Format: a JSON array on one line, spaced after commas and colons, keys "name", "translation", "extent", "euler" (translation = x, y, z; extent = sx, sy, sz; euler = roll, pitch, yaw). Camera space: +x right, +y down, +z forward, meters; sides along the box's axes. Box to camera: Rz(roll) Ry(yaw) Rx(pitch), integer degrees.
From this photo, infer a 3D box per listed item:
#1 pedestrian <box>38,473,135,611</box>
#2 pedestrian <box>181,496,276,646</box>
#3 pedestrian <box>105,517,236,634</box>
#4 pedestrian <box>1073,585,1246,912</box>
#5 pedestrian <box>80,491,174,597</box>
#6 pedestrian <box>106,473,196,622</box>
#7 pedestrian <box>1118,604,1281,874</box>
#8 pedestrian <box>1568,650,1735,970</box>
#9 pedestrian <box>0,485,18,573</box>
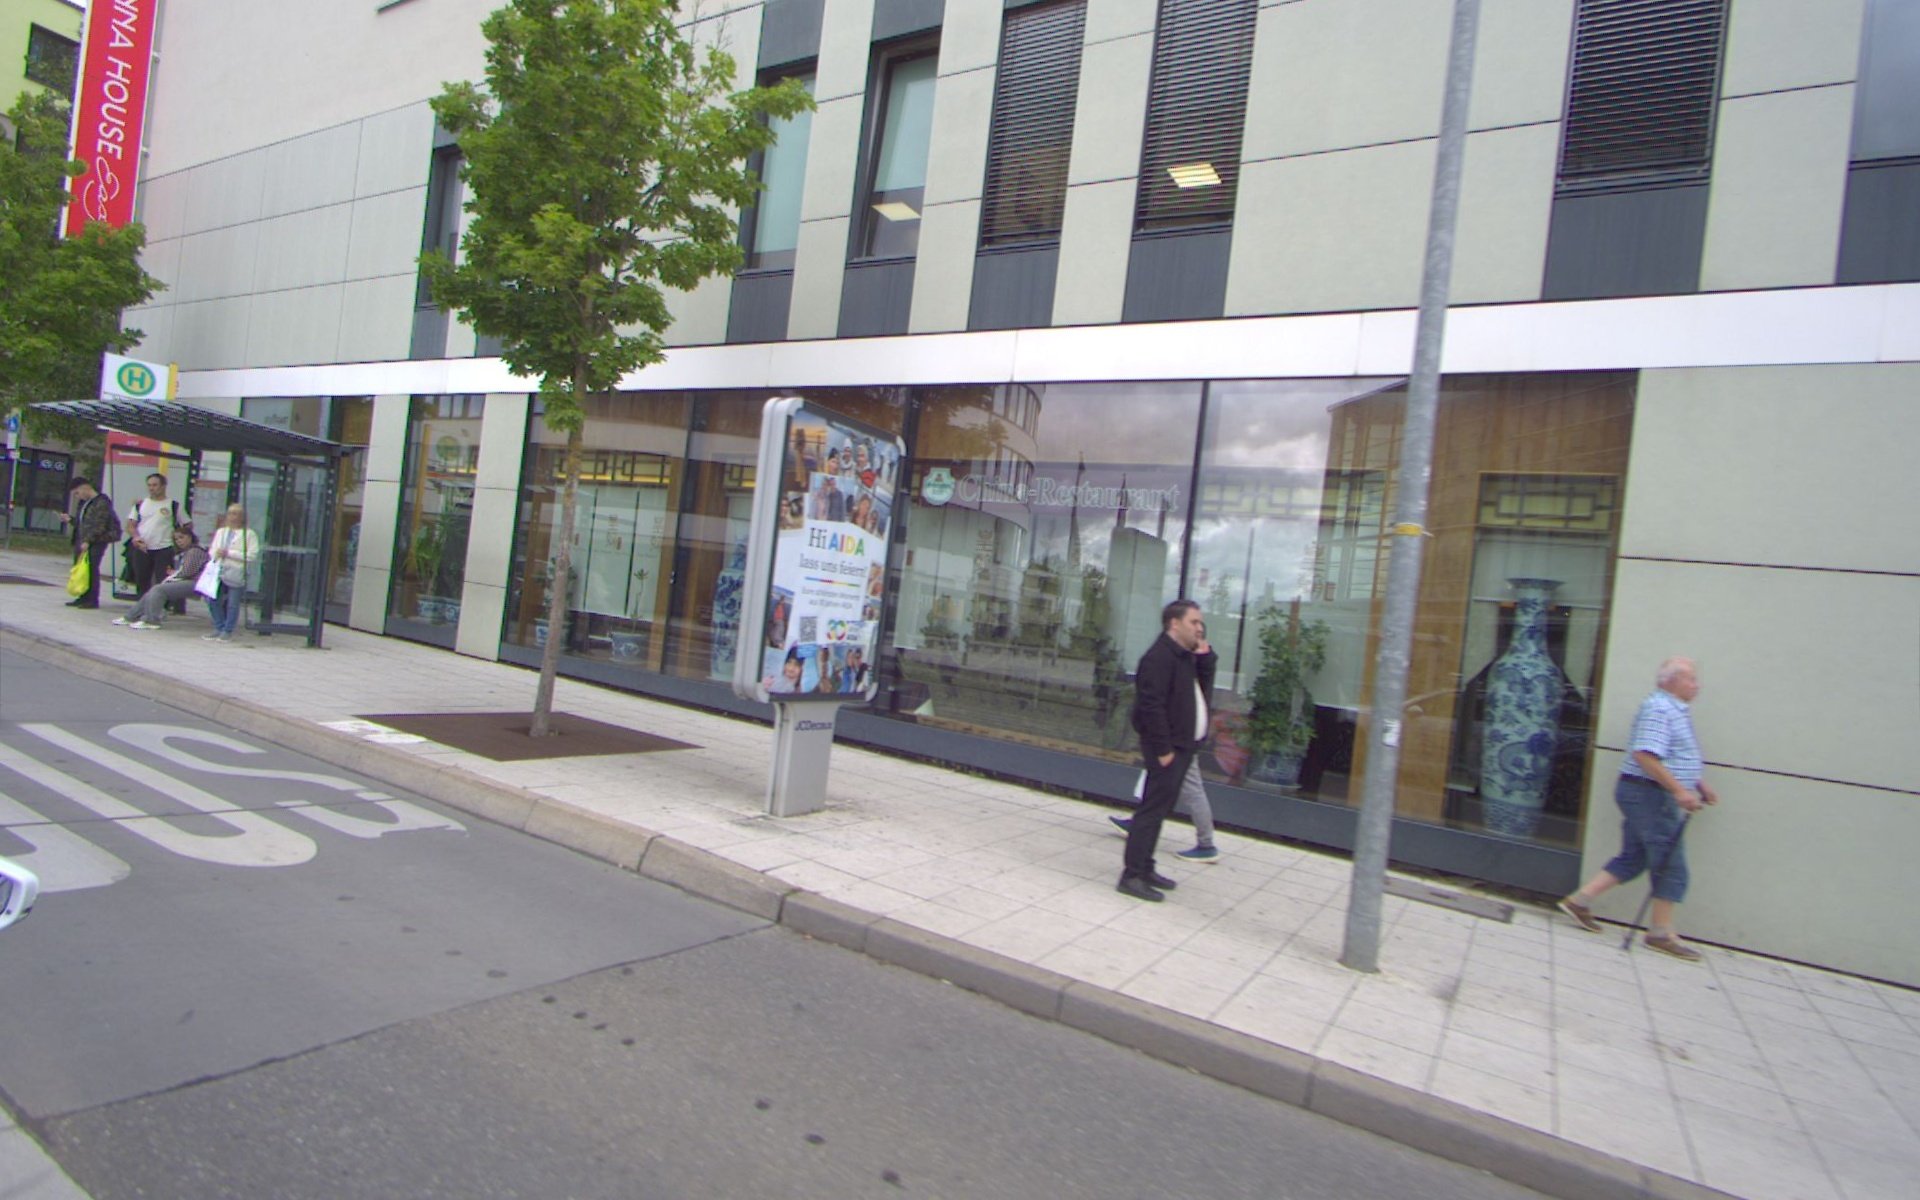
[{"name": "pedestrian", "translation": [-11.455, -0.754, 13.201], "extent": [0.721, 1.705, 0.720], "euler": [7, 1, 36]}, {"name": "pedestrian", "translation": [-8.319, -0.326, 11.436], "extent": [0.721, 1.611, 0.578], "euler": [7, 1, 37]}, {"name": "pedestrian", "translation": [-9.420, -0.280, 12.016], "extent": [0.720, 1.275, 0.944], "euler": [6, 1, 28]}, {"name": "pedestrian", "translation": [1.154, 0.813, 5.770], "extent": [0.604, 1.689, 0.656], "euler": [7, 0, 32]}, {"name": "pedestrian", "translation": [-13.828, -0.923, 16.712], "extent": [0.791, 1.602, 0.870], "euler": [7, 0, 30]}, {"name": "pedestrian", "translation": [-10.278, -0.665, 12.779], "extent": [0.843, 1.792, 0.578], "euler": [7, 1, 37]}, {"name": "pedestrian", "translation": [1.624, 0.900, 6.774], "extent": [0.703, 1.628, 0.741], "euler": [7, 0, 32]}, {"name": "pedestrian", "translation": [4.070, 1.188, 5.976], "extent": [0.604, 1.689, 0.745], "euler": [7, 0, 31]}, {"name": "pedestrian", "translation": [-18.148, -1.374, 18.425], "extent": [0.999, 1.602, 0.948], "euler": [6, 0, 30]}]
